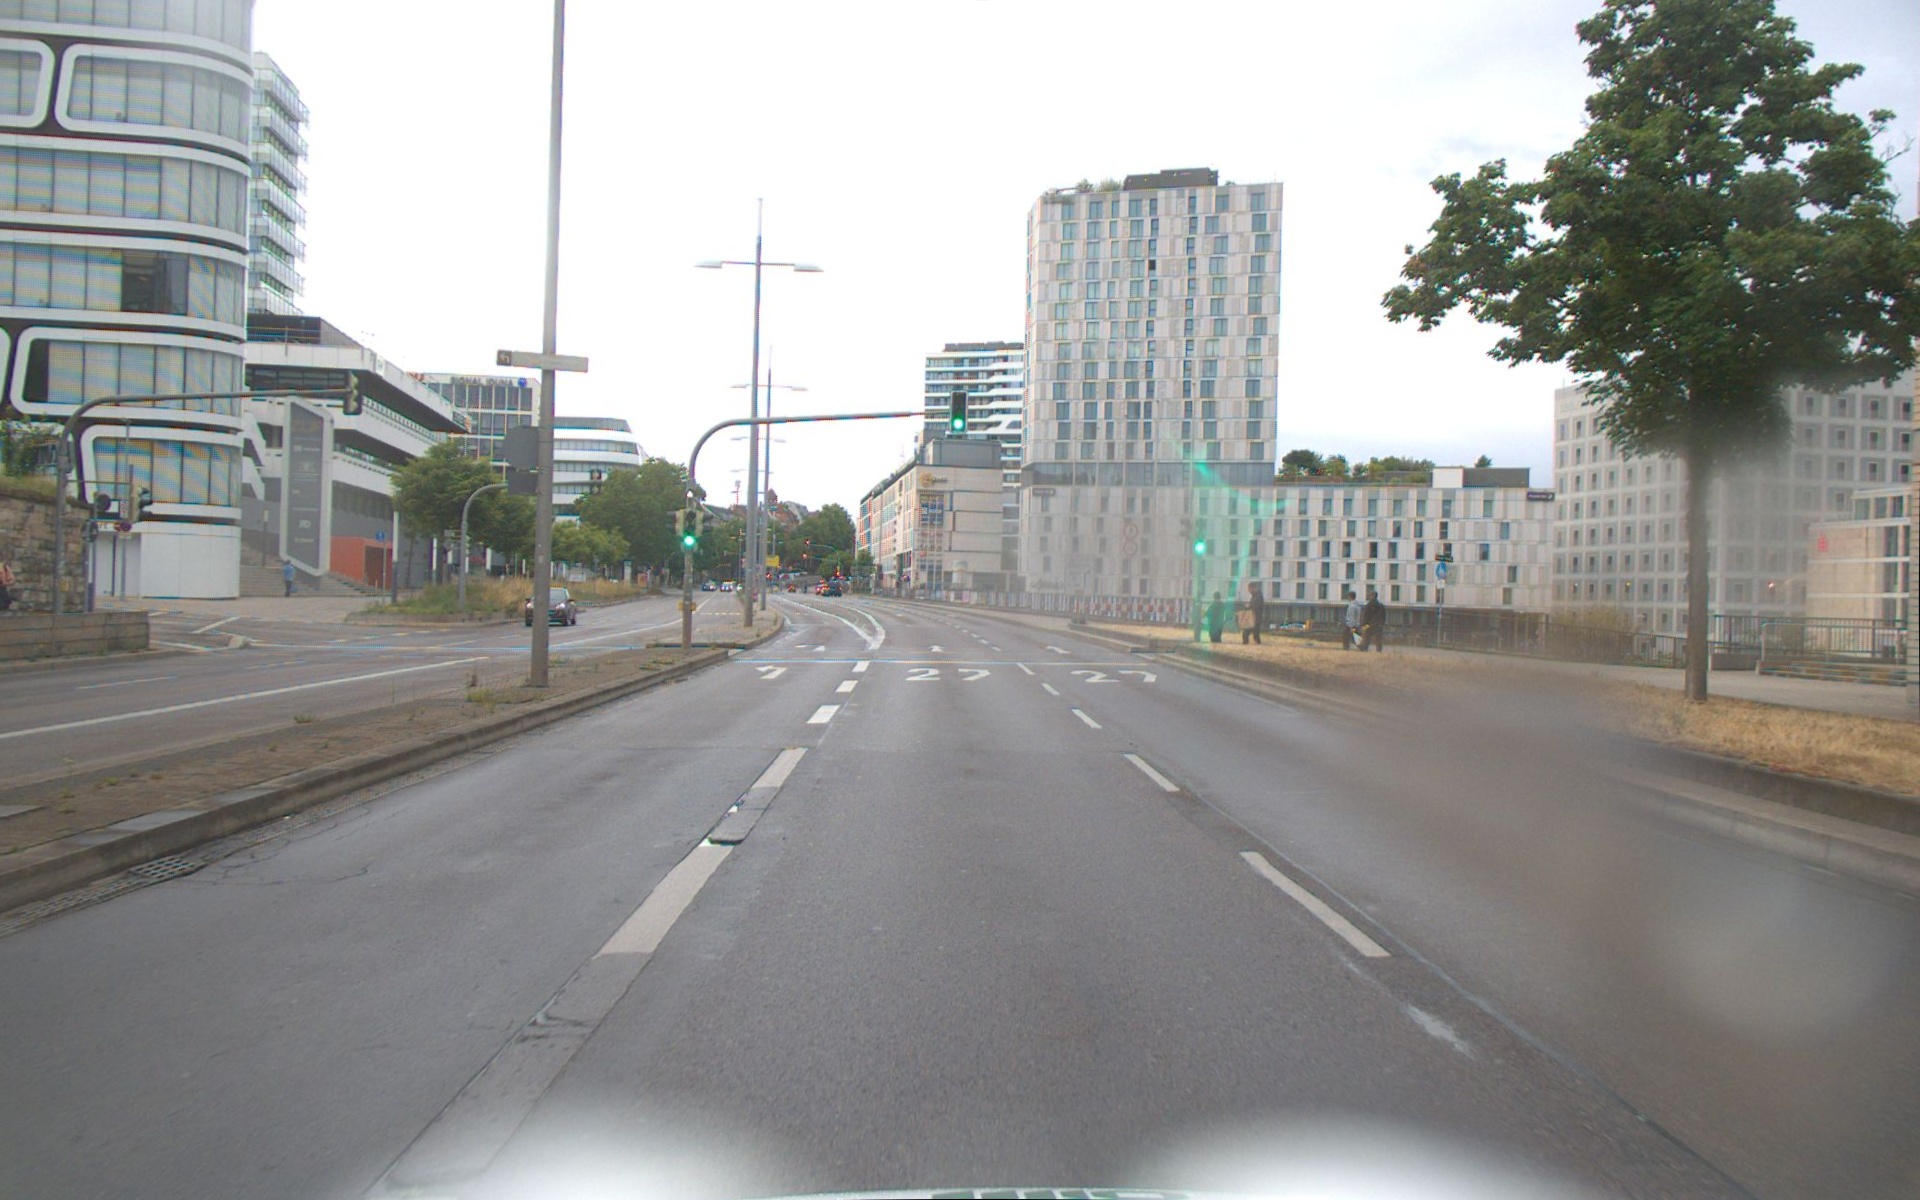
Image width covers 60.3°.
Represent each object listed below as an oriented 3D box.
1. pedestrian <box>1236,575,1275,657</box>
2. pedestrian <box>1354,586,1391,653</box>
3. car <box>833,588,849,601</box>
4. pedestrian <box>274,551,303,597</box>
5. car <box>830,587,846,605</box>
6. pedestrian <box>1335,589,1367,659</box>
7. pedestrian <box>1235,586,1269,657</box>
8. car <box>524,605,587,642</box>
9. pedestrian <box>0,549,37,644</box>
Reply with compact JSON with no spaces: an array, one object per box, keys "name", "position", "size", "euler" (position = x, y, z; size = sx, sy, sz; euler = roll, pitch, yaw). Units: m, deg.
[{"name":"pedestrian","position":[6.837,0.356,38.285],"size":[0.542,1.873,0.777],"euler":[2,2,45]},{"name":"pedestrian","position":[10.133,0.463,40.628],"size":[0.657,1.605,0.666],"euler":[1,2,36]},{"name":"car","position":[-17.547,-0.833,243.888],"size":[1.952,1.847,4.002],"euler":[0,2,2]},{"name":"pedestrian","position":[-30.161,-1.160,74.271],"size":[1.009,2.048,0.715],"euler":[0,1,-2]},{"name":"car","position":[-15.860,-0.524,214.746],"size":[1.953,2.384,3.998],"euler":[0,0,-2]},{"name":"pedestrian","position":[9.179,0.556,38.852],"size":[0.540,1.605,0.669],"euler":[1,2,33]},{"name":"pedestrian","position":[6.754,0.490,38.218],"size":[0.540,1.605,0.669],"euler":[1,2,33]},{"name":"car","position":[-16.276,0.925,66.672],"size":[1.713,1.432,3.723],"euler":[0,0,-2]},{"name":"pedestrian","position":[-19.512,-0.086,33.577],"size":[0.865,1.899,1.058],"euler":[1,2,33]}]
